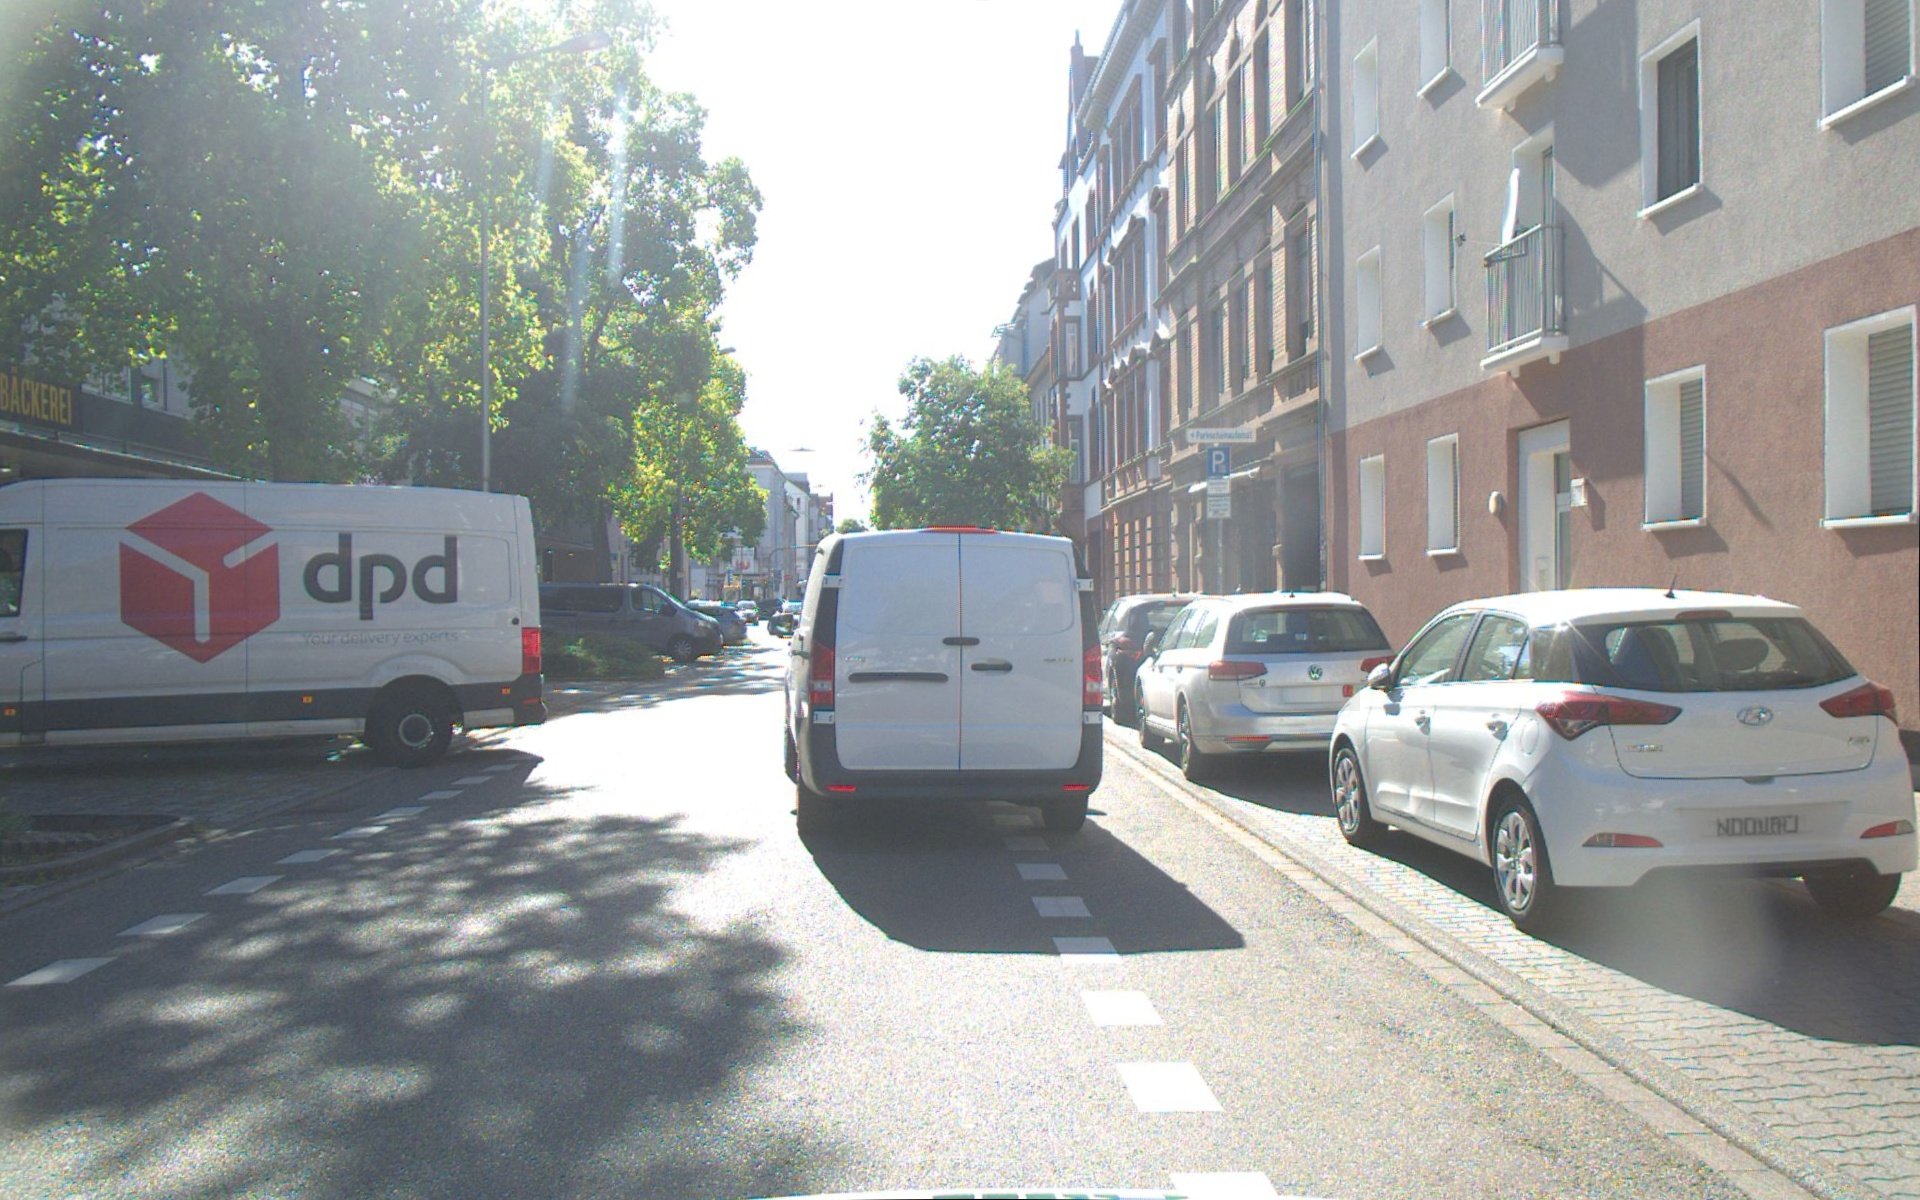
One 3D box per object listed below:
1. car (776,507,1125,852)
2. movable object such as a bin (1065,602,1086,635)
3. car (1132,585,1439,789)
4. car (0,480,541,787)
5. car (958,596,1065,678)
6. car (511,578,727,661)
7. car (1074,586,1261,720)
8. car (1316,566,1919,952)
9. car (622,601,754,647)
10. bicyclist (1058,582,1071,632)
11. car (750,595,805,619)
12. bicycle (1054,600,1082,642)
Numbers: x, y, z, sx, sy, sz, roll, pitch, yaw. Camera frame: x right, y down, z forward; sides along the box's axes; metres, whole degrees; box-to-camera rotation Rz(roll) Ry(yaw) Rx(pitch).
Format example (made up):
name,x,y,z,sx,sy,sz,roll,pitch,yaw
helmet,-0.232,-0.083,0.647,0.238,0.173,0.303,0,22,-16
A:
name,x,y,z,sx,sy,sz,roll,pitch,yaw
car,-0.309,0.442,11.905,1.884,1.947,4.879,1,0,-8
movable object such as a bin,3.866,0.607,55.470,0.625,1.087,0.639,-1,0,-4
car,2.697,0.654,14.776,1.749,1.485,4.515,-2,0,-1
car,-7.300,0.258,15.021,6.510,2.517,1.981,-1,0,-29
car,0.943,0.680,32.313,1.704,1.477,3.997,-1,0,-4
car,-8.704,0.496,42.590,5.187,2.009,2.014,1,0,-4
car,2.505,0.605,20.780,1.675,1.506,3.708,-1,0,-3
car,3.277,0.642,8.712,1.697,1.512,3.791,-2,0,-4
car,-9.300,0.797,56.694,4.217,1.486,1.762,1,0,-1
bicyclist,3.130,0.212,49.344,0.353,1.503,0.530,0,0,0
car,-13.231,0.494,119.825,3.911,1.668,1.997,0,0,-7
bicycle,3.210,0.641,49.337,0.526,1.168,2.123,-7,-1,-2
